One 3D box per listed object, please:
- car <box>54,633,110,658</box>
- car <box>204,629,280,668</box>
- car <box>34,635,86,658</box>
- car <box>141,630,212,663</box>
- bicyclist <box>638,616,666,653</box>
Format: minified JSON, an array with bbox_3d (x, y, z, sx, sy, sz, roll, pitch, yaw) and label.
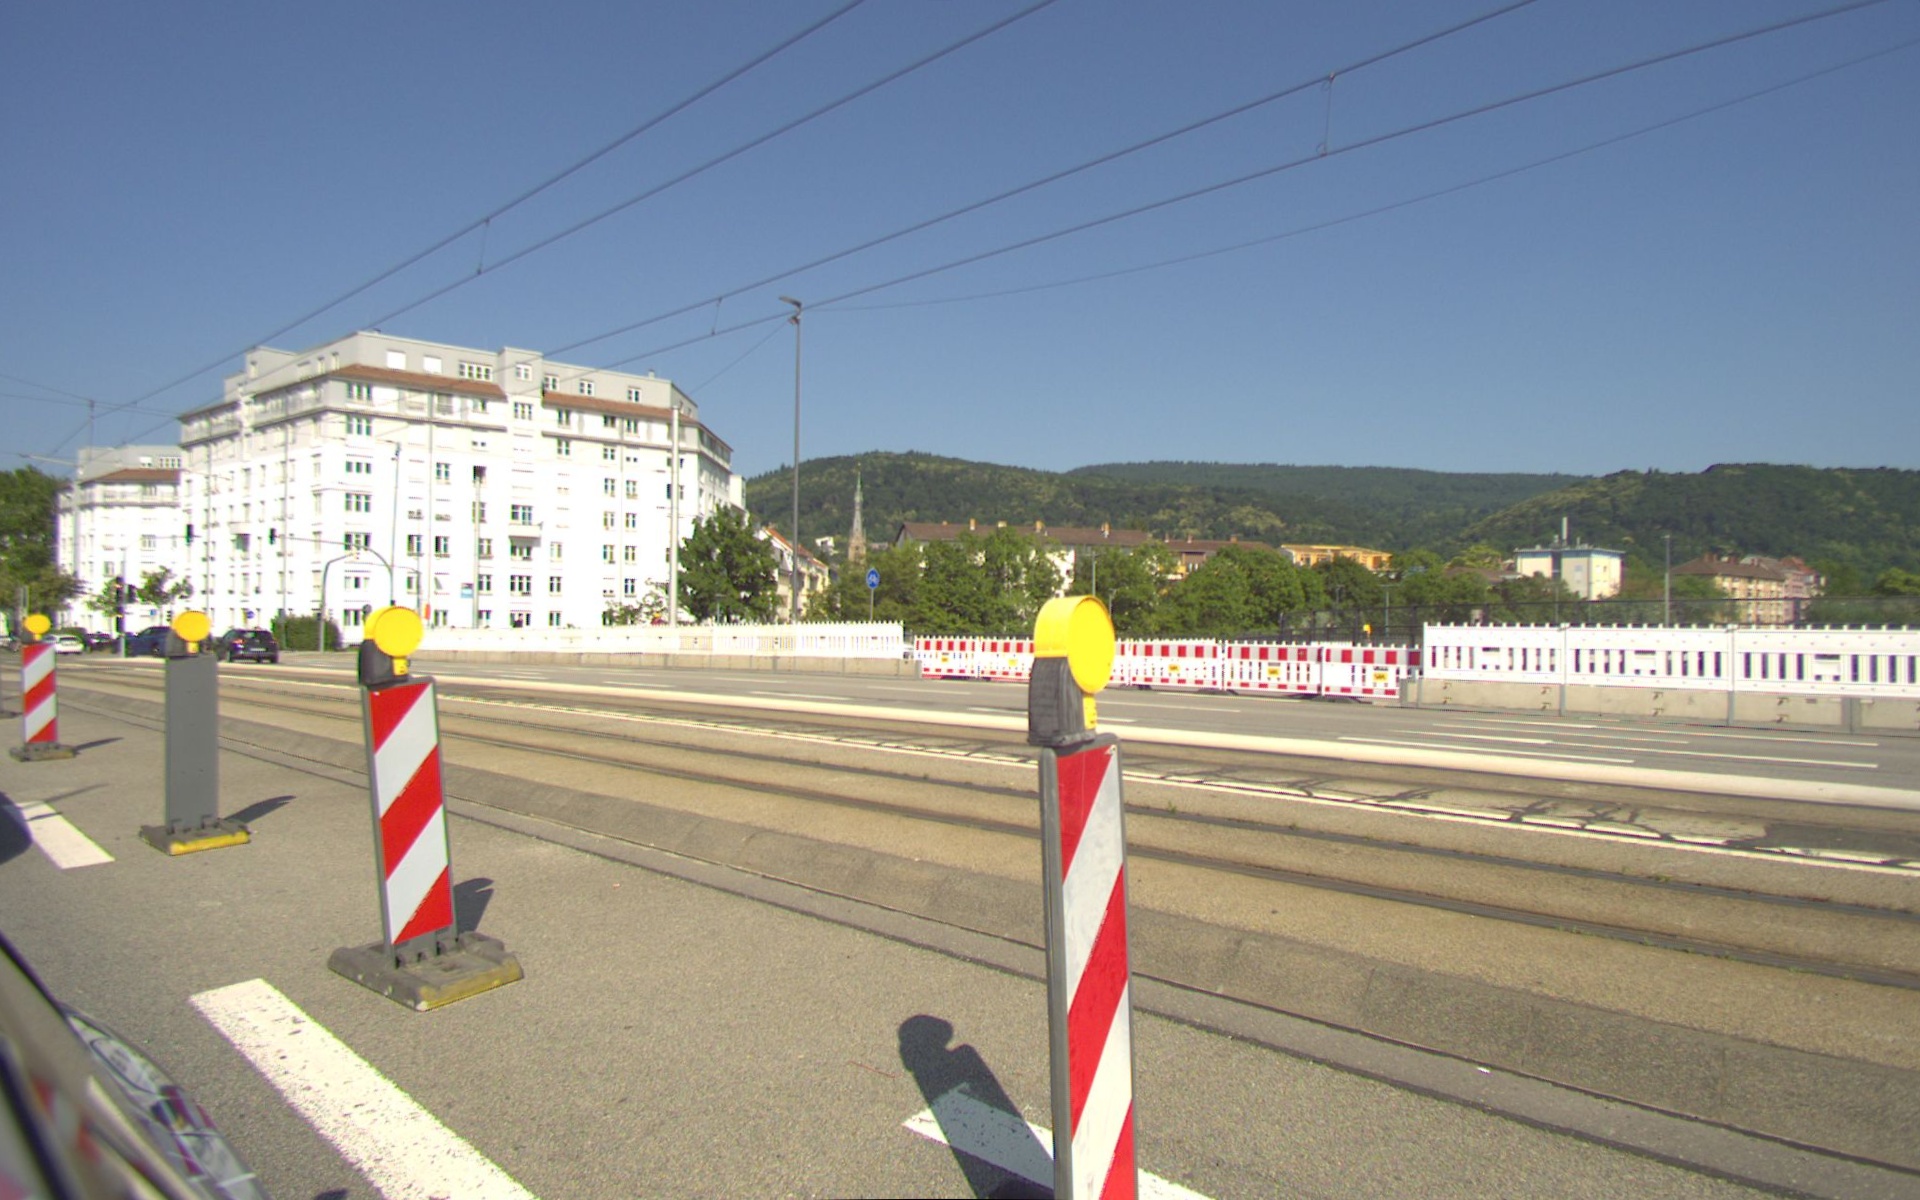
[{"bbox_3d":[-55.481,2.847,63.915,3.996,1.497,2.013,0,-2,40],"label":"car"},{"bbox_3d":[-29.742,1.991,41.900,3.999,1.497,1.777,-3,-2,43],"label":"car"},{"bbox_3d":[-63.865,3.257,71.807,3.994,1.497,2.014,0,-2,38],"label":"car"},{"bbox_3d":[-38.117,2.219,49.187,3.999,1.497,2.012,0,-1,42],"label":"car"},{"bbox_3d":[-13.016,1.445,42.758,0.817,1.530,0.847,-1,0,40],"label":"bicyclist"}]
